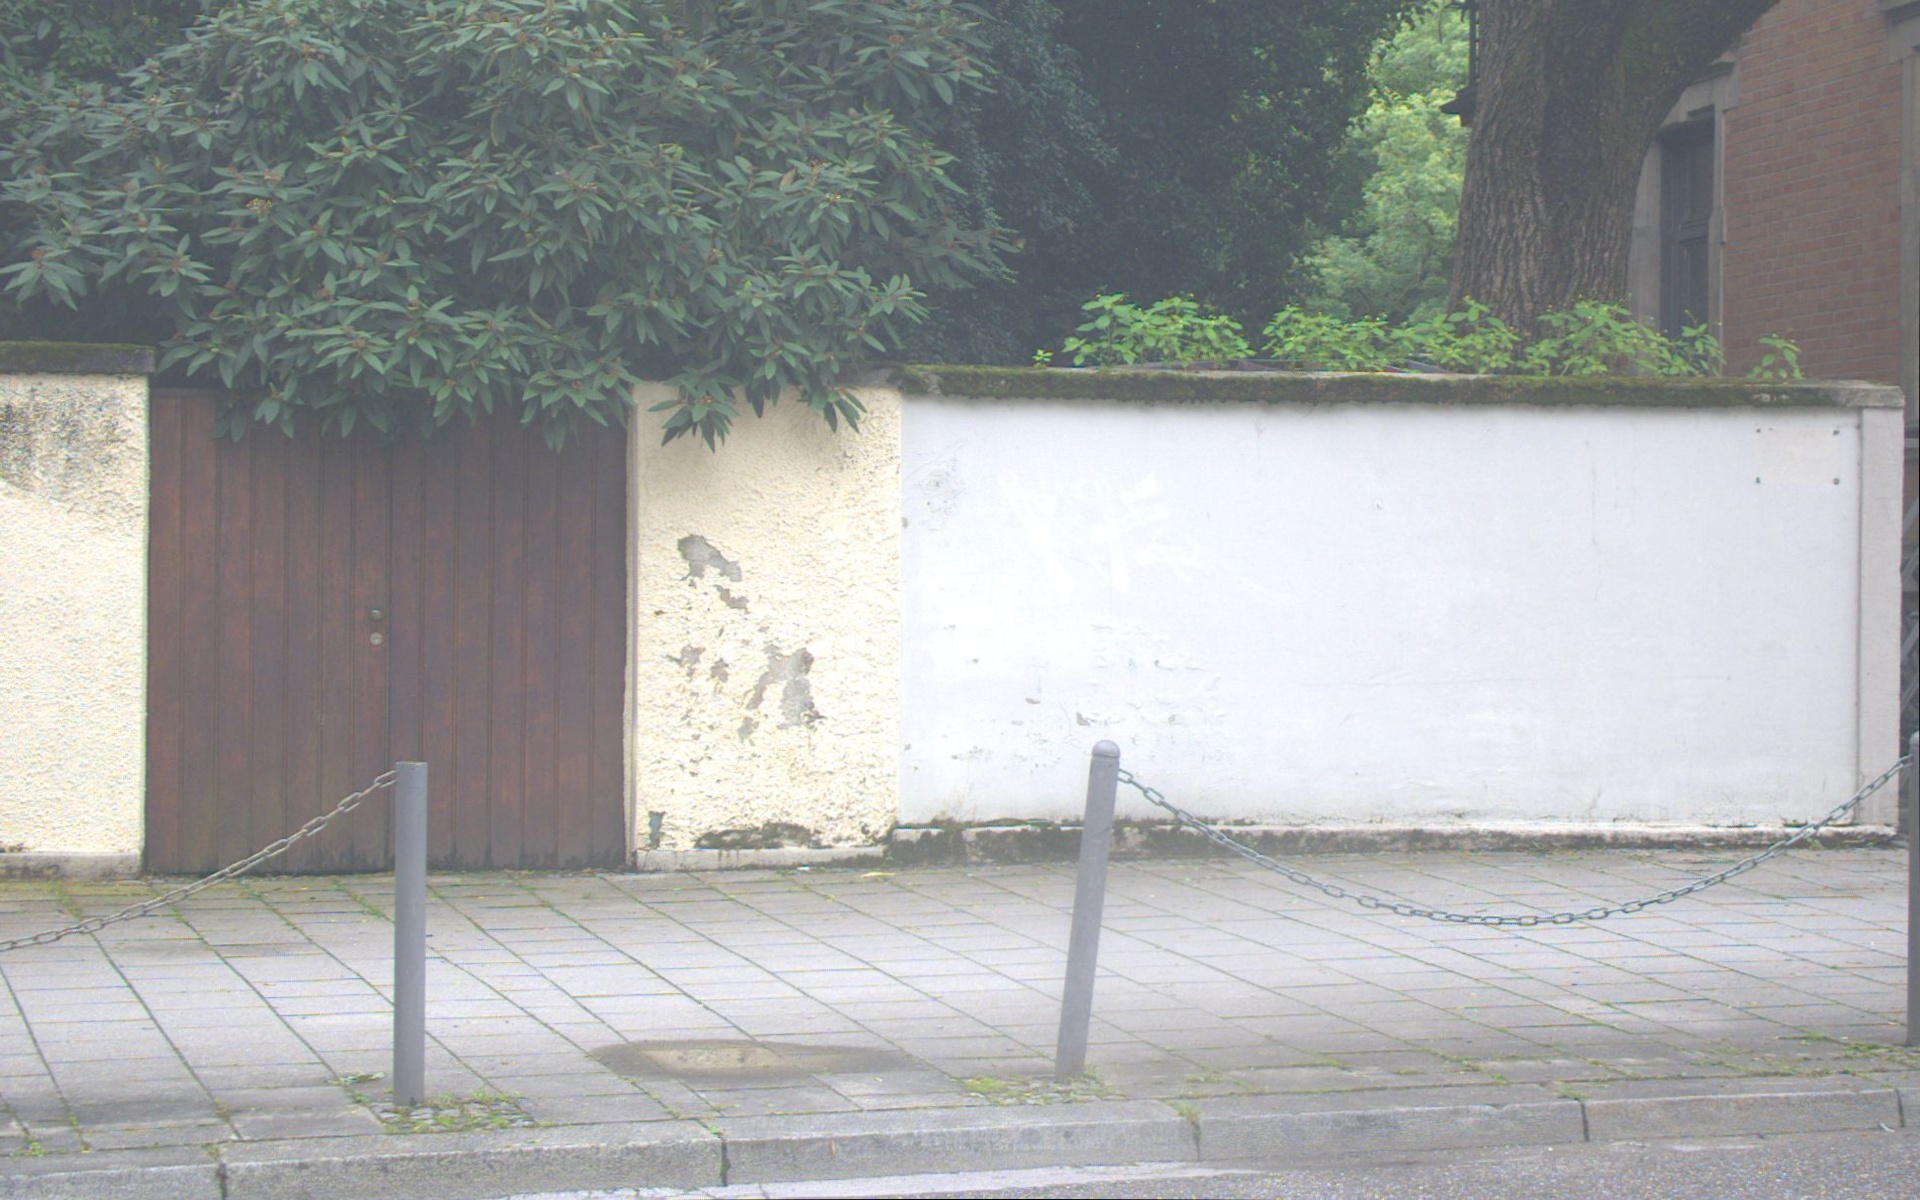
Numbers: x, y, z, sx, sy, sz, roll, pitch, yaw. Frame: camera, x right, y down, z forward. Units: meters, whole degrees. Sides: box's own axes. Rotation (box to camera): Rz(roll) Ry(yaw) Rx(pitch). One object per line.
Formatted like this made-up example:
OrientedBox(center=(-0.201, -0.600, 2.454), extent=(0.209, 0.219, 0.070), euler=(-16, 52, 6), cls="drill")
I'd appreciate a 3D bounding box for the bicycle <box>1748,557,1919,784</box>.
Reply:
OrientedBox(center=(5.177, 0.373, 19.328), extent=(0.534, 1.215, 2.083), euler=(1, 0, -14), cls="bicycle")
